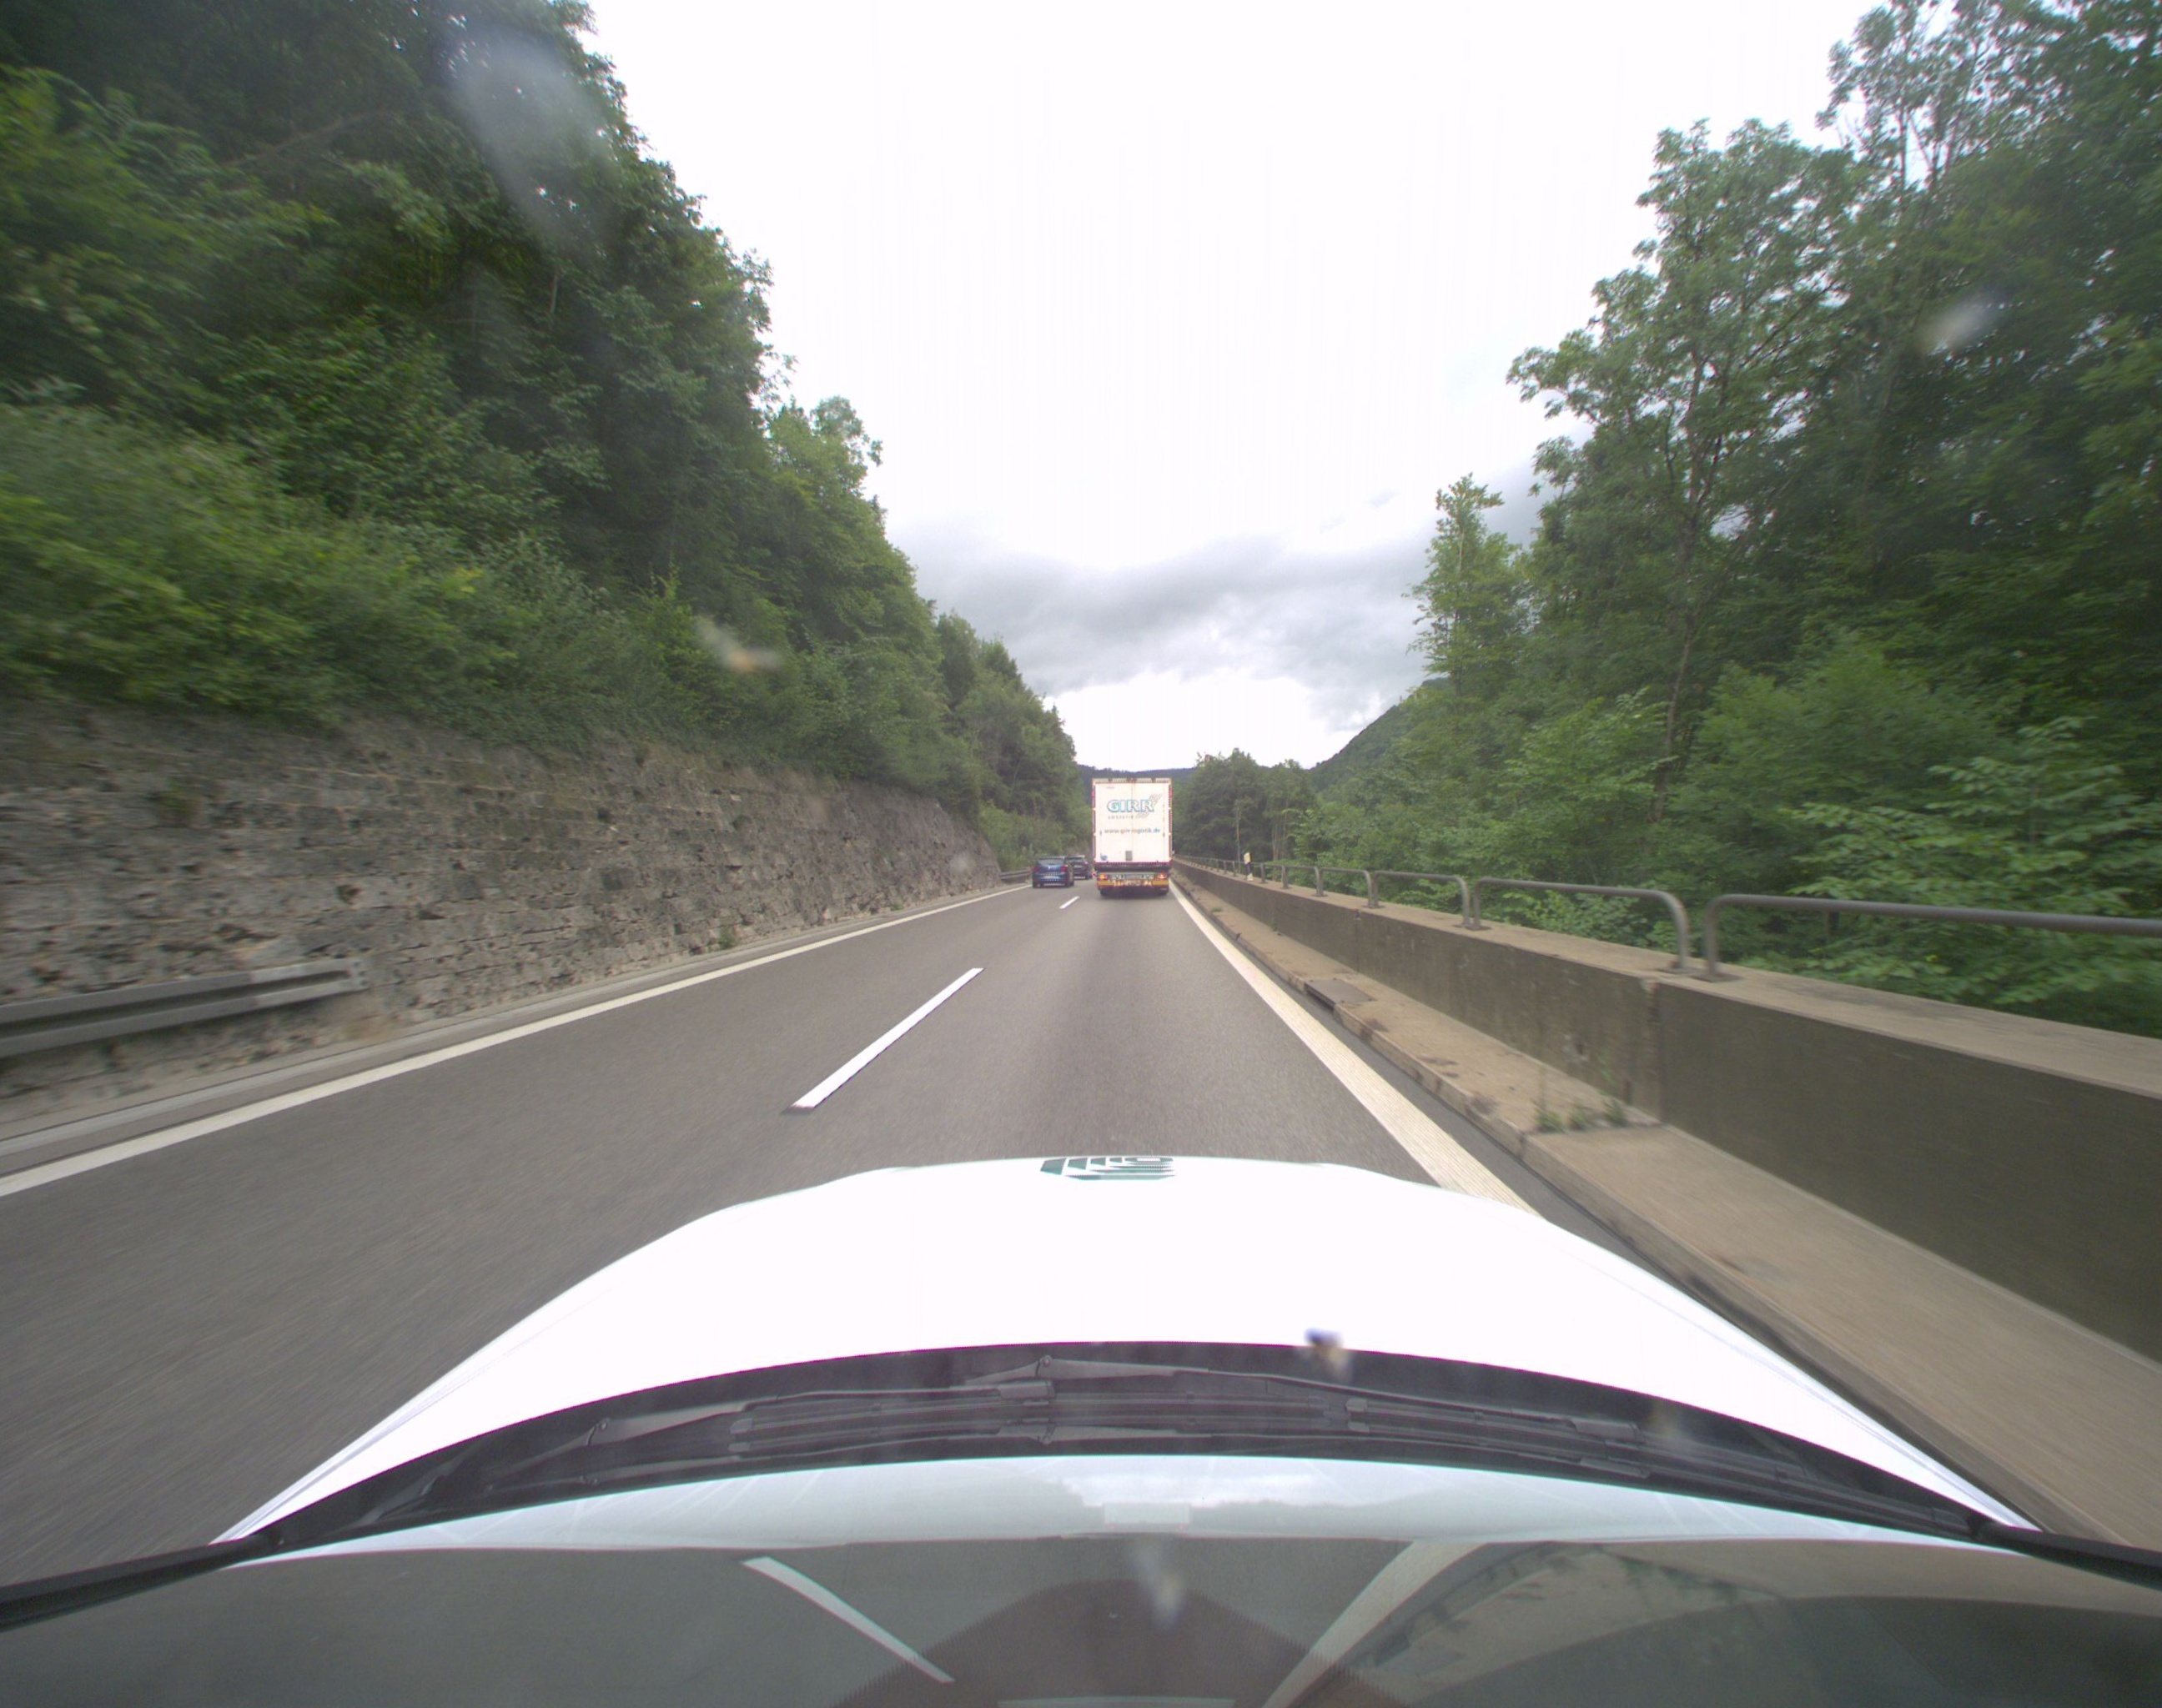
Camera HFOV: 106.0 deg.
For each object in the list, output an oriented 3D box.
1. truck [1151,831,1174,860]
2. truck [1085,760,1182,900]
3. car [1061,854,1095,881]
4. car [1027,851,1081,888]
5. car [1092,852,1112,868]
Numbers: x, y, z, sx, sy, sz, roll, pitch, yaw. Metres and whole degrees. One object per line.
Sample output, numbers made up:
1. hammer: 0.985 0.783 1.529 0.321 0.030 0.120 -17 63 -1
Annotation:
1. truck: 11.066 -1.076 110.100 2.956 3.765 10.378 -1 0 6
2. truck: 2.253 -0.813 33.692 3.070 4.464 15.173 0 0 4
3. car: -0.145 0.815 49.385 1.738 1.587 4.004 -1 -1 4
4. car: -1.179 0.668 37.872 1.984 1.596 4.359 -1 0 5
5. car: 2.039 0.576 79.069 1.738 1.486 4.004 -1 -1 4
